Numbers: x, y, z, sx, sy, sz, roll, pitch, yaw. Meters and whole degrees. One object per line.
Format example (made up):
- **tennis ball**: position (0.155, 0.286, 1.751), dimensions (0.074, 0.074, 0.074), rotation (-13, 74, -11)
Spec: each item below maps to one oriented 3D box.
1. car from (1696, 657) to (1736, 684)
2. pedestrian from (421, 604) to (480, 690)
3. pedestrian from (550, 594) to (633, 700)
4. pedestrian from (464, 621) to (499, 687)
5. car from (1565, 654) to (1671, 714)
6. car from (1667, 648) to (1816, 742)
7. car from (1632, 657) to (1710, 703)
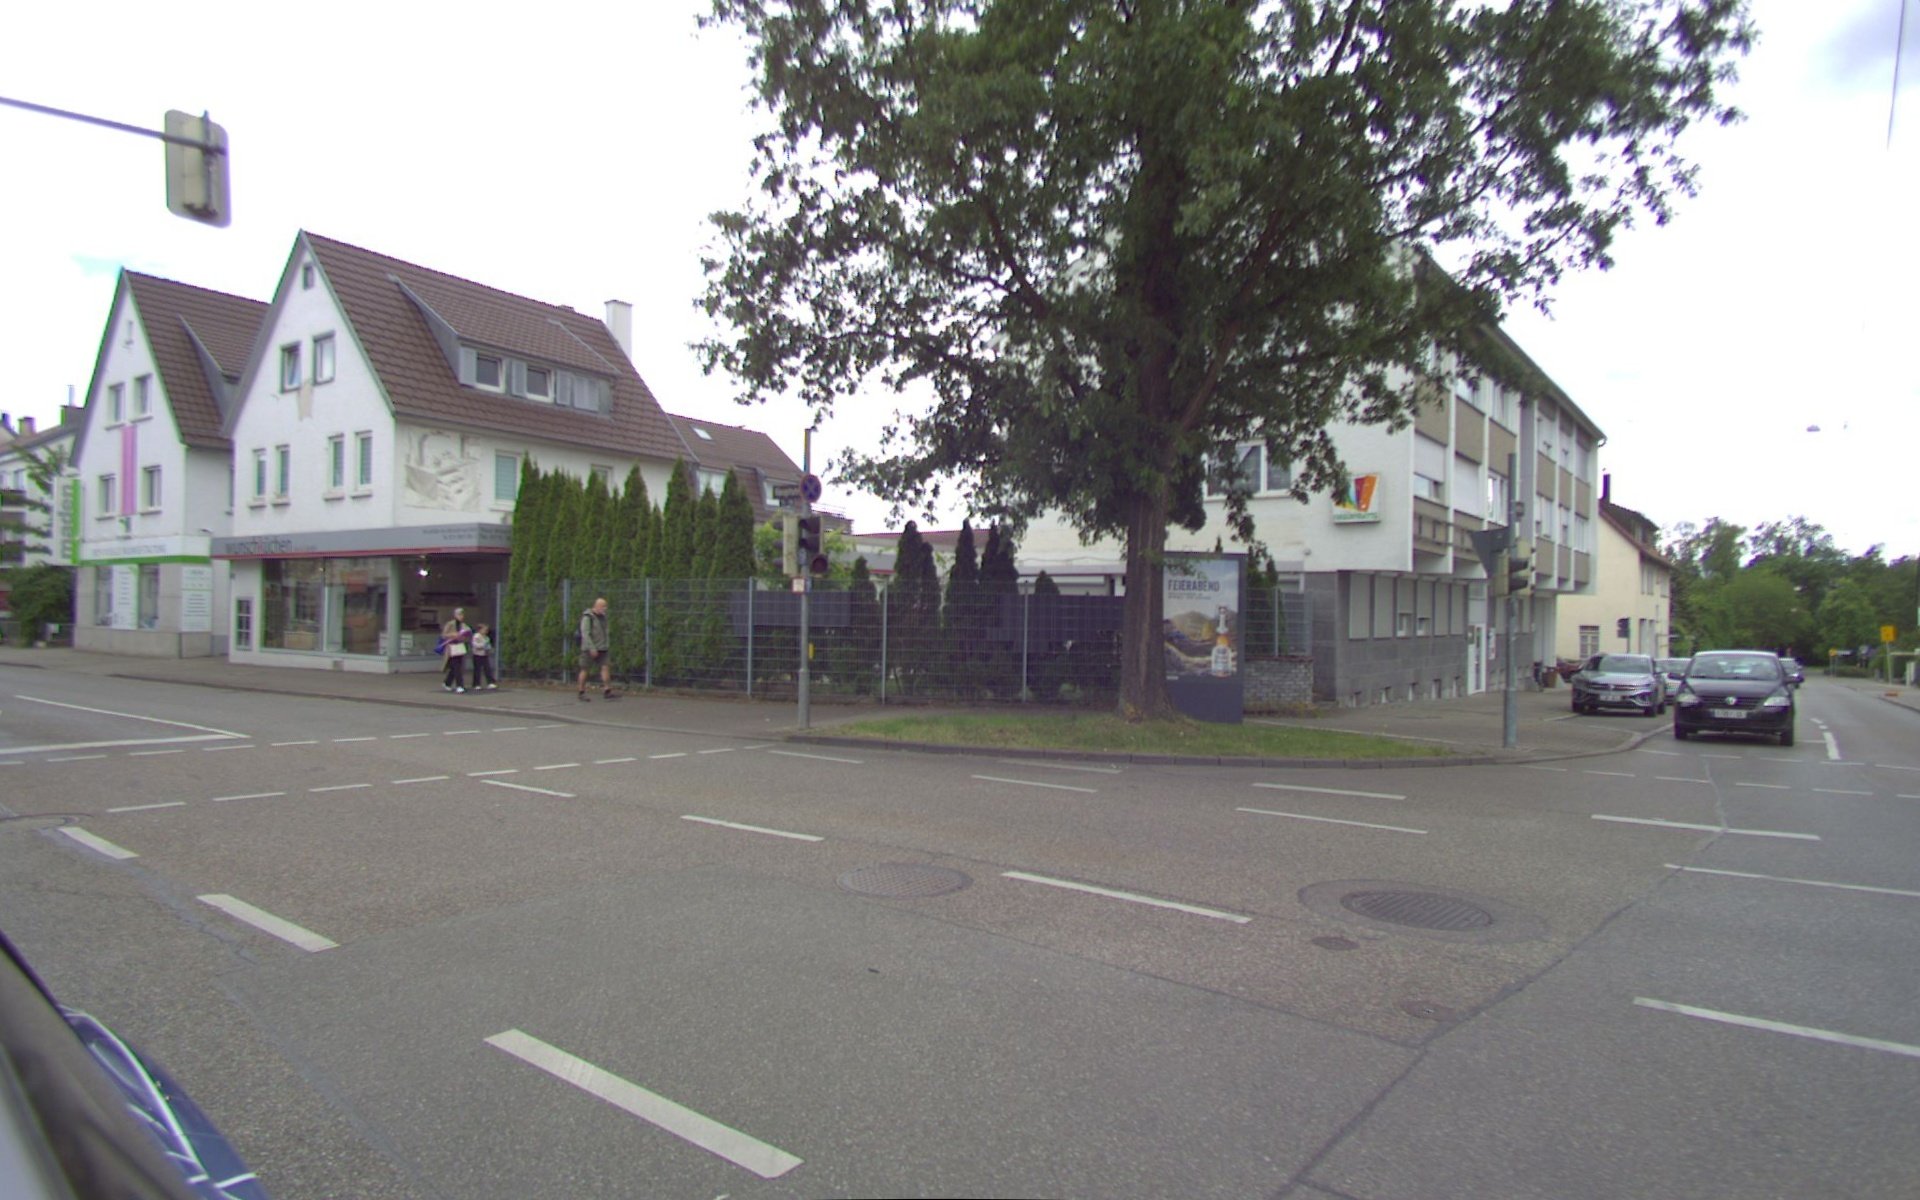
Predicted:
- **car**: position (43.697, 4.052, 58.467), dimensions (1.791, 1.472, 4.360), rotation (-2, -4, 37)
- **pedestrian**: position (-9.893, 0.897, 19.664), dimensions (0.862, 1.617, 0.636), rotation (0, 0, 25)
- **pedestrian**: position (-6.411, 0.781, 17.604), dimensions (1.227, 1.767, 0.814), rotation (0, 0, 36)
- **pedestrian**: position (-9.481, 1.061, 20.051), dimensions (0.547, 1.271, 0.379), rotation (0, 0, 25)
- **car**: position (16.972, 2.142, 26.045), dimensions (1.756, 1.409, 3.594), rotation (-2, -5, 42)
- **car**: position (13.529, 1.597, 17.451), dimensions (1.771, 1.409, 3.594), rotation (-1, -4, 42)
- **car**: position (23.946, 2.675, 34.029), dimensions (1.828, 1.450, 3.596), rotation (-2, -5, 40)
